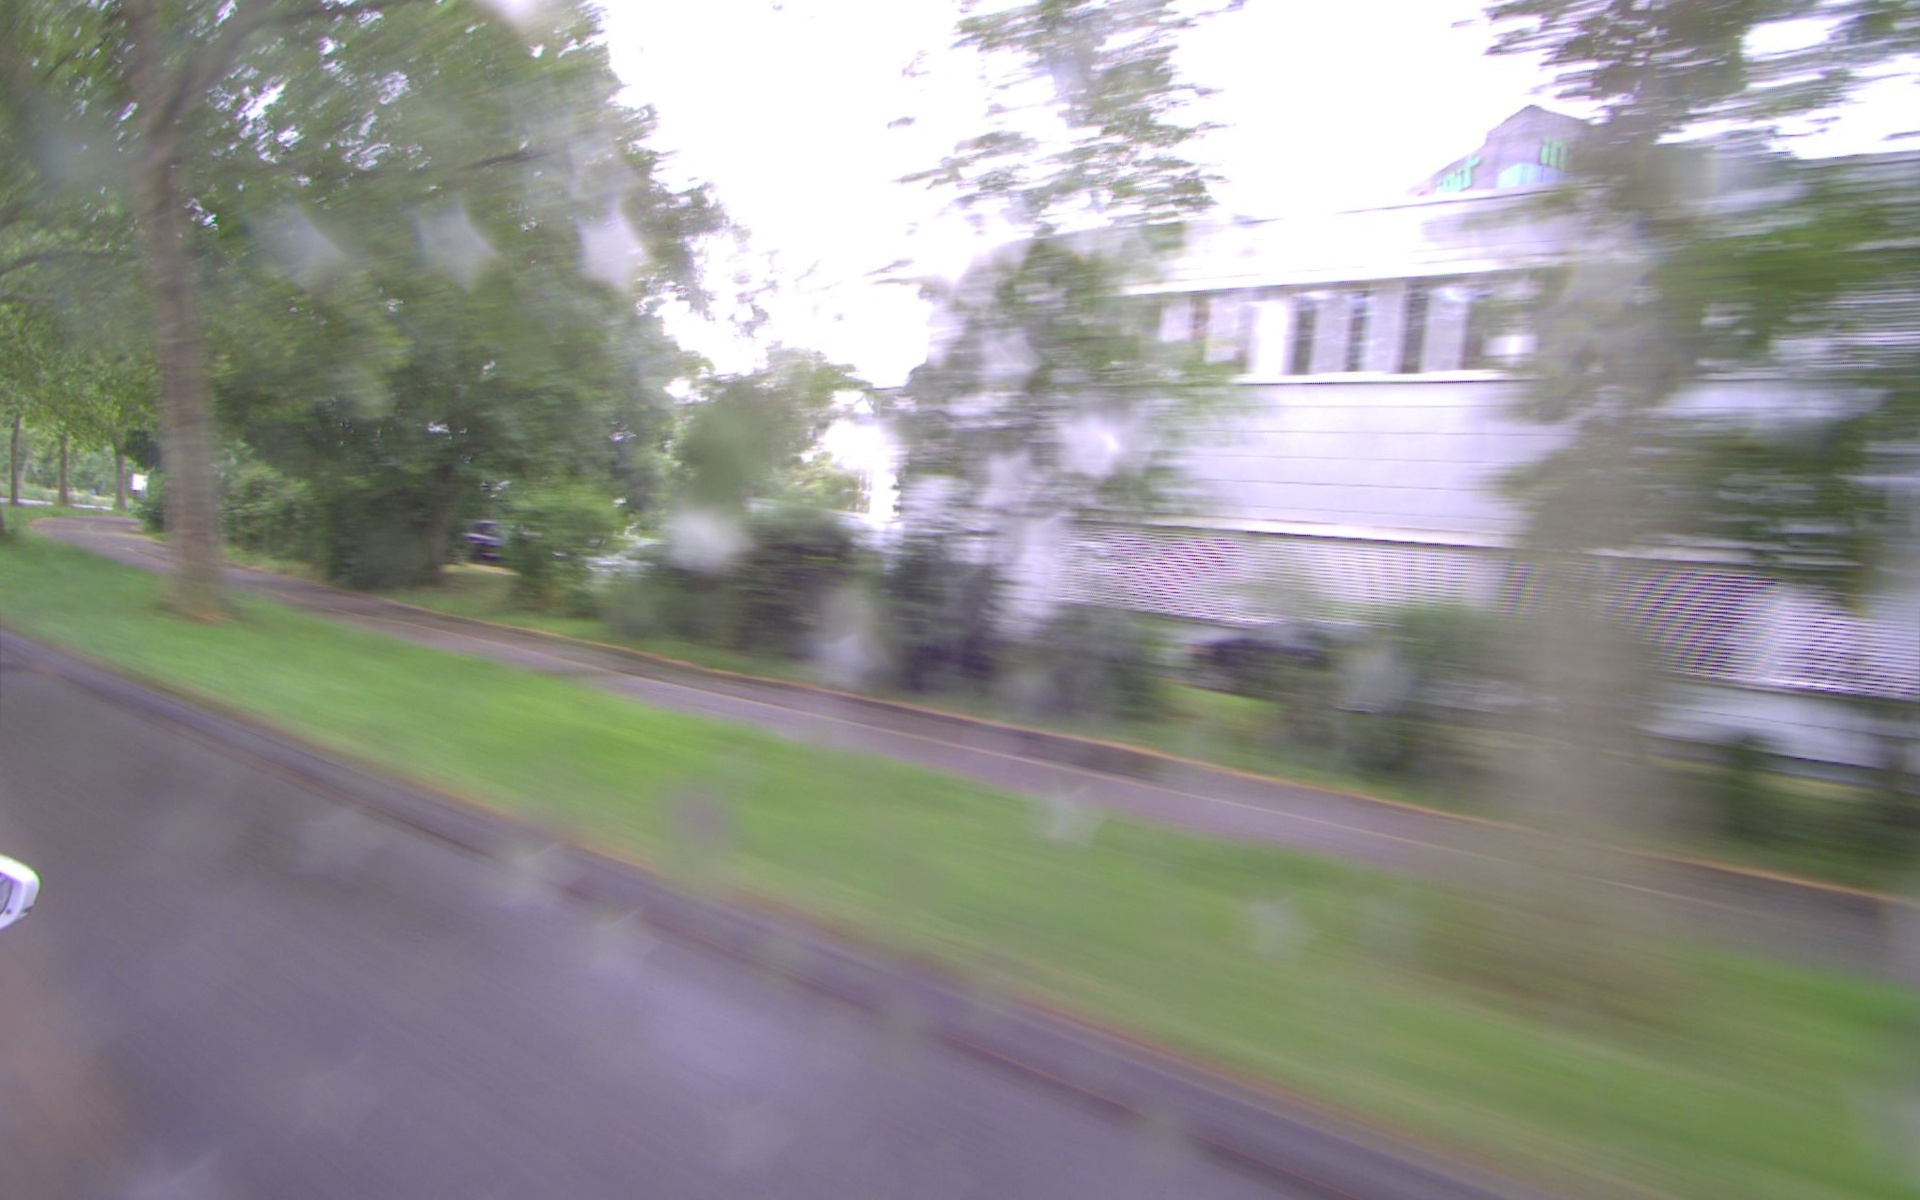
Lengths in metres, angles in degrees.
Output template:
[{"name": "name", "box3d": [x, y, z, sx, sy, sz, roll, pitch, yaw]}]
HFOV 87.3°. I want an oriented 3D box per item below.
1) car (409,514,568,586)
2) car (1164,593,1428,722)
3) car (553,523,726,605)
[{"name": "car", "box3d": [-15.016, -1.576, 32.161, 4.134, 1.500, 1.746, 10, 0, -43]}, {"name": "car", "box3d": [6.104, 1.030, 18.430, 4.089, 1.600, 1.765, 10, 0, 33]}, {"name": "car", "box3d": [-8.666, -0.935, 27.508, 1.740, 1.500, 4.148, 10, 0, 35]}]
